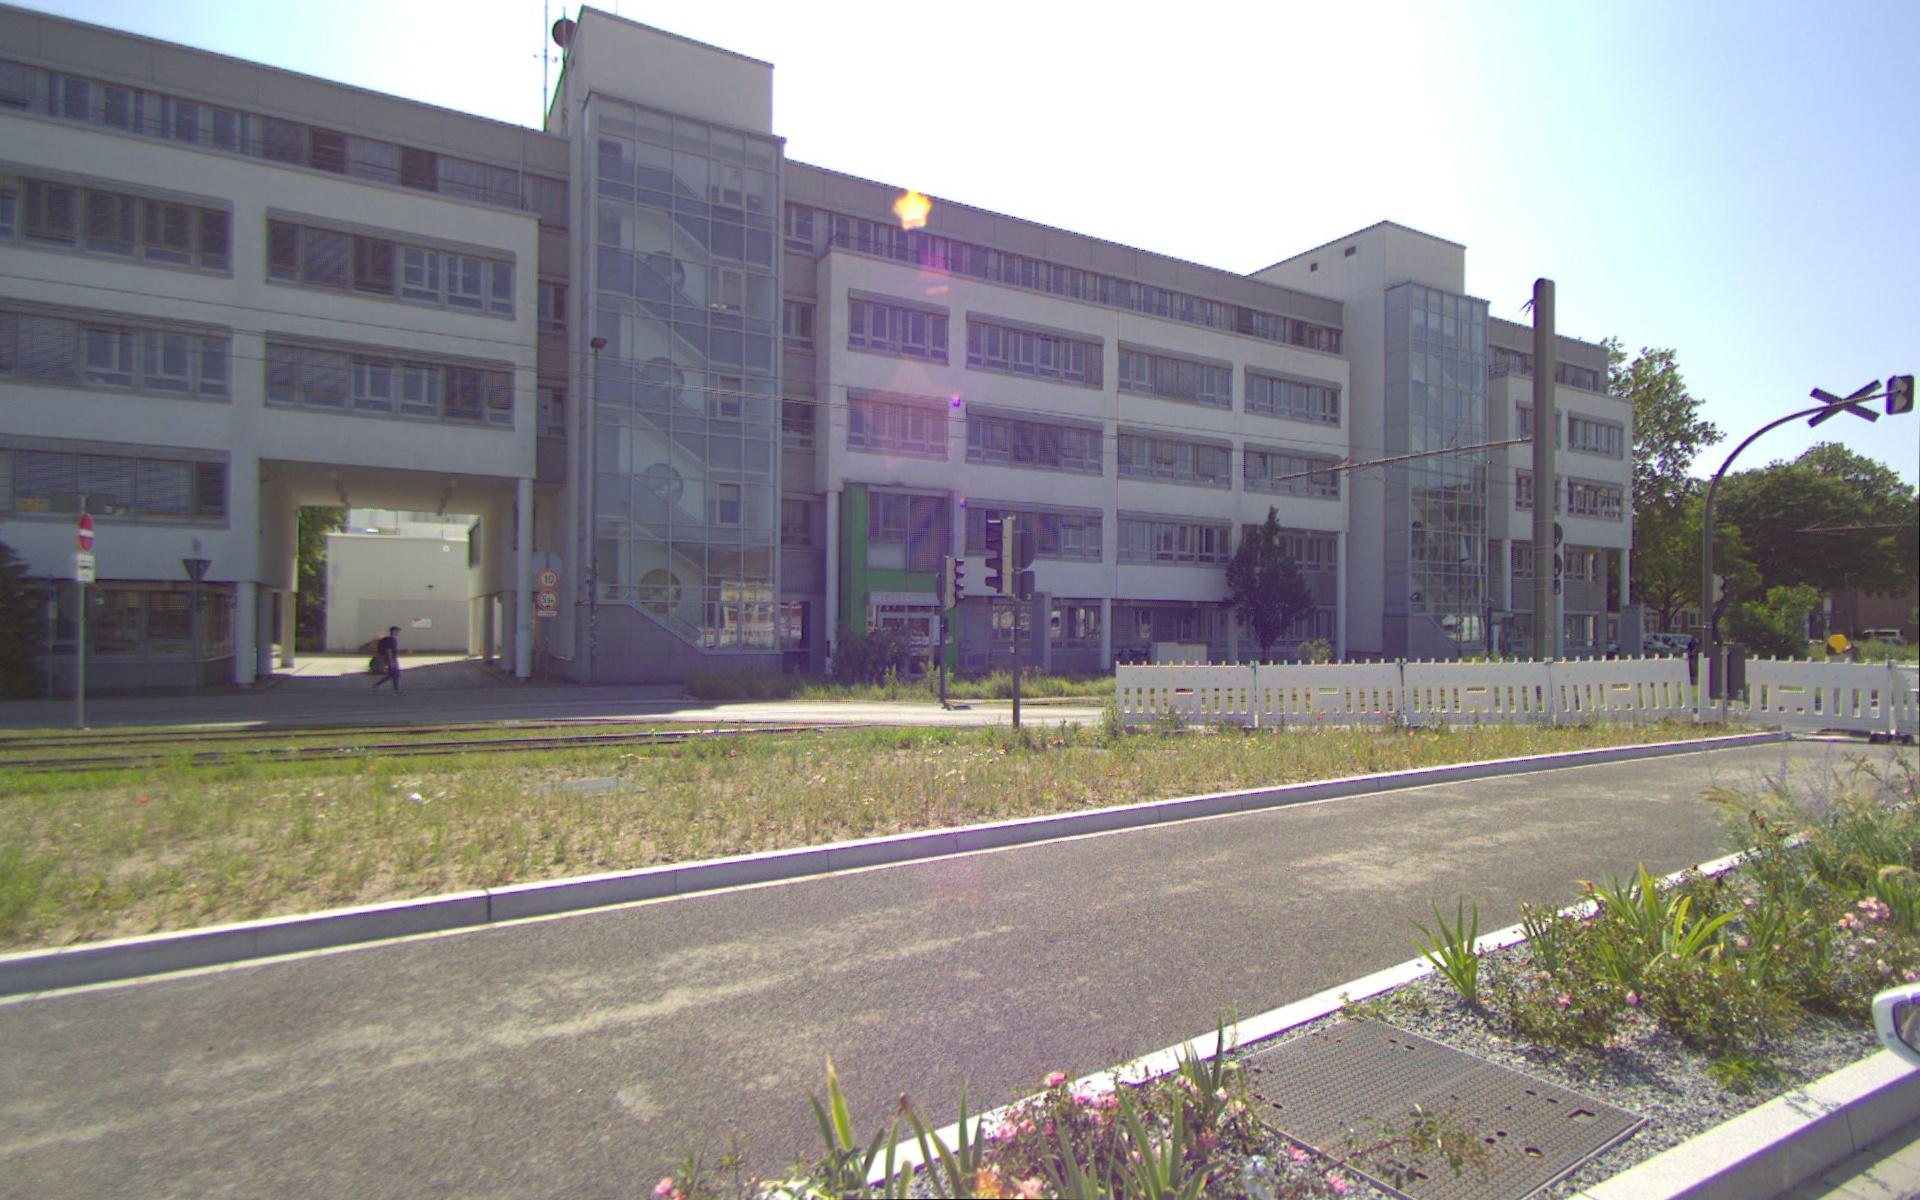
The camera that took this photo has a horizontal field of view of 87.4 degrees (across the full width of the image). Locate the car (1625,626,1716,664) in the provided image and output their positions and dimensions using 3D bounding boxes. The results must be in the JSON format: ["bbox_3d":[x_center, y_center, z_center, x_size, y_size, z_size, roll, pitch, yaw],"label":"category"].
[{"bbox_3d":[45.107,2.822,63.938,2.073,2.208,5.075,1,-1,-2],"label":"car"}]

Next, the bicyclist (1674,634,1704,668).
[{"bbox_3d":[34.209,2.383,47.113,1.064,1.560,0.751,2,-1,-29],"label":"bicyclist"}]

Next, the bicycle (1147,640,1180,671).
[{"bbox_3d":[8.491,2.310,41.970,0.432,1.205,1.642,1,1,-23],"label":"bicycle"}]

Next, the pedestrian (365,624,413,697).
[{"bbox_3d":[-15.262,1.602,26.856,1.096,1.851,0.761,0,2,-30],"label":"pedestrian"}]

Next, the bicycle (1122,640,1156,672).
[{"bbox_3d":[7.333,2.290,41.198,0.514,1.205,1.642,1,1,-23],"label":"bicycle"}]

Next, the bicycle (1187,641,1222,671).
[{"bbox_3d":[10.454,2.382,42.970,0.433,1.205,1.639,1,1,-28],"label":"bicycle"}]
